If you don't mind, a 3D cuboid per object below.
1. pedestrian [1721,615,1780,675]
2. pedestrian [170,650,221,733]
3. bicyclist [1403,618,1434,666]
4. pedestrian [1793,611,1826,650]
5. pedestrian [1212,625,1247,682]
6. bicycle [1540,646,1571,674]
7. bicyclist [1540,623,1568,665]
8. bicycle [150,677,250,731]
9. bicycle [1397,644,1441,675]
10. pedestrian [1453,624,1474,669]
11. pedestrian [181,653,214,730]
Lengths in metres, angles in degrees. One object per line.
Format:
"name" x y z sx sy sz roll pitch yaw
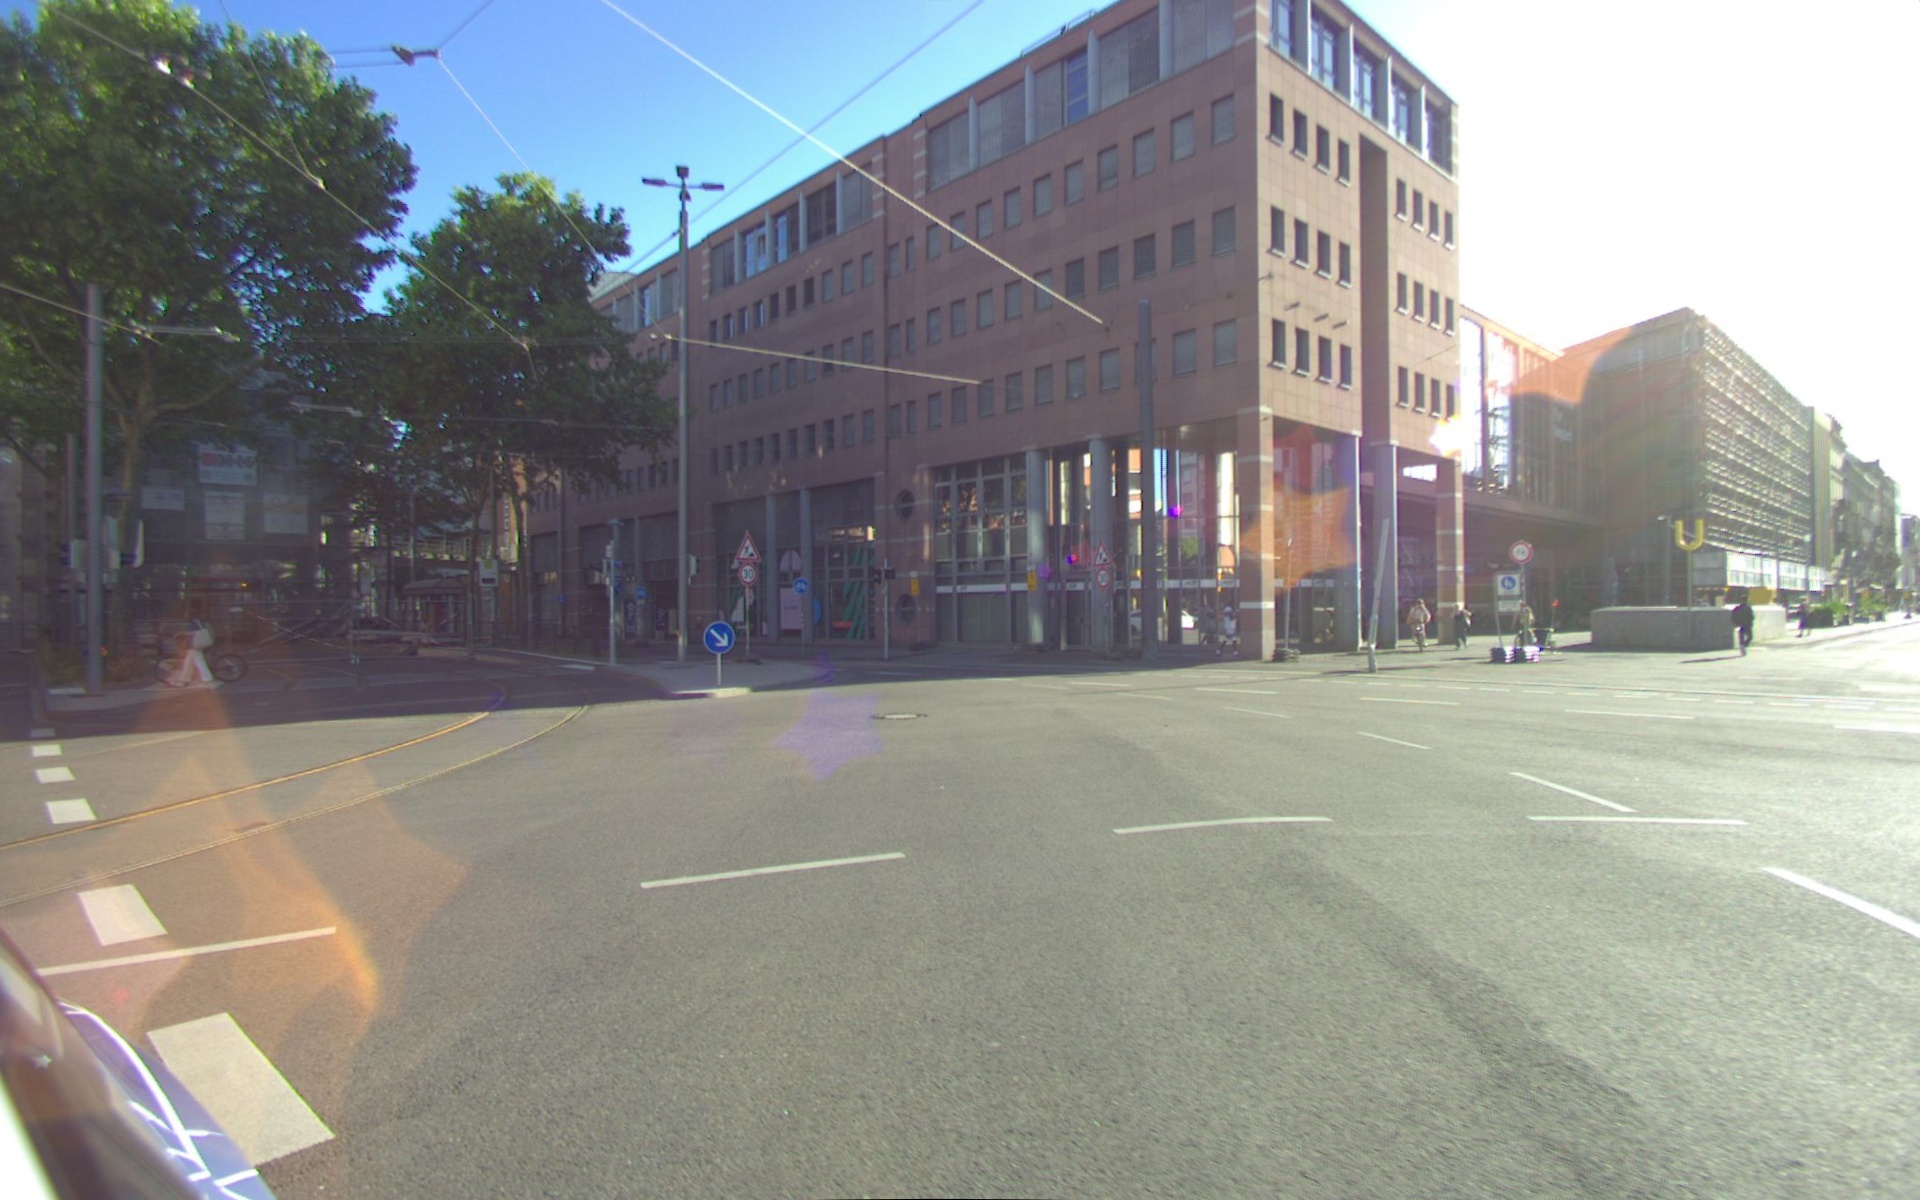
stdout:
"pedestrian" 23.016 1.308 29.472 0.893 1.678 0.886 -2 -2 -8
"pedestrian" -16.890 2.007 22.356 0.849 1.747 0.769 -4 -3 44
"bicyclist" 14.888 1.360 32.857 0.738 1.496 0.584 -1 -3 -43
"pedestrian" 37.181 1.329 44.280 0.742 1.678 0.698 -2 -2 -4
"pedestrian" 7.916 1.558 29.747 0.631 1.630 0.725 0 -2 -32
"bicycle" 19.694 1.959 33.489 0.613 0.814 2.003 -3 -2 24
"bicyclist" 19.682 1.445 33.532 0.613 1.322 0.950 -3 -2 24
"bicycle" -17.614 2.392 23.477 1.807 1.087 0.481 0 -2 -42
"bicycle" 14.889 1.905 32.815 1.935 0.919 0.584 0 -2 -43
"pedestrian" 17.362 1.597 34.888 0.561 1.548 0.485 -2 -2 30
"pedestrian" -17.361 2.073 23.036 0.559 1.692 0.531 0 -3 -42
